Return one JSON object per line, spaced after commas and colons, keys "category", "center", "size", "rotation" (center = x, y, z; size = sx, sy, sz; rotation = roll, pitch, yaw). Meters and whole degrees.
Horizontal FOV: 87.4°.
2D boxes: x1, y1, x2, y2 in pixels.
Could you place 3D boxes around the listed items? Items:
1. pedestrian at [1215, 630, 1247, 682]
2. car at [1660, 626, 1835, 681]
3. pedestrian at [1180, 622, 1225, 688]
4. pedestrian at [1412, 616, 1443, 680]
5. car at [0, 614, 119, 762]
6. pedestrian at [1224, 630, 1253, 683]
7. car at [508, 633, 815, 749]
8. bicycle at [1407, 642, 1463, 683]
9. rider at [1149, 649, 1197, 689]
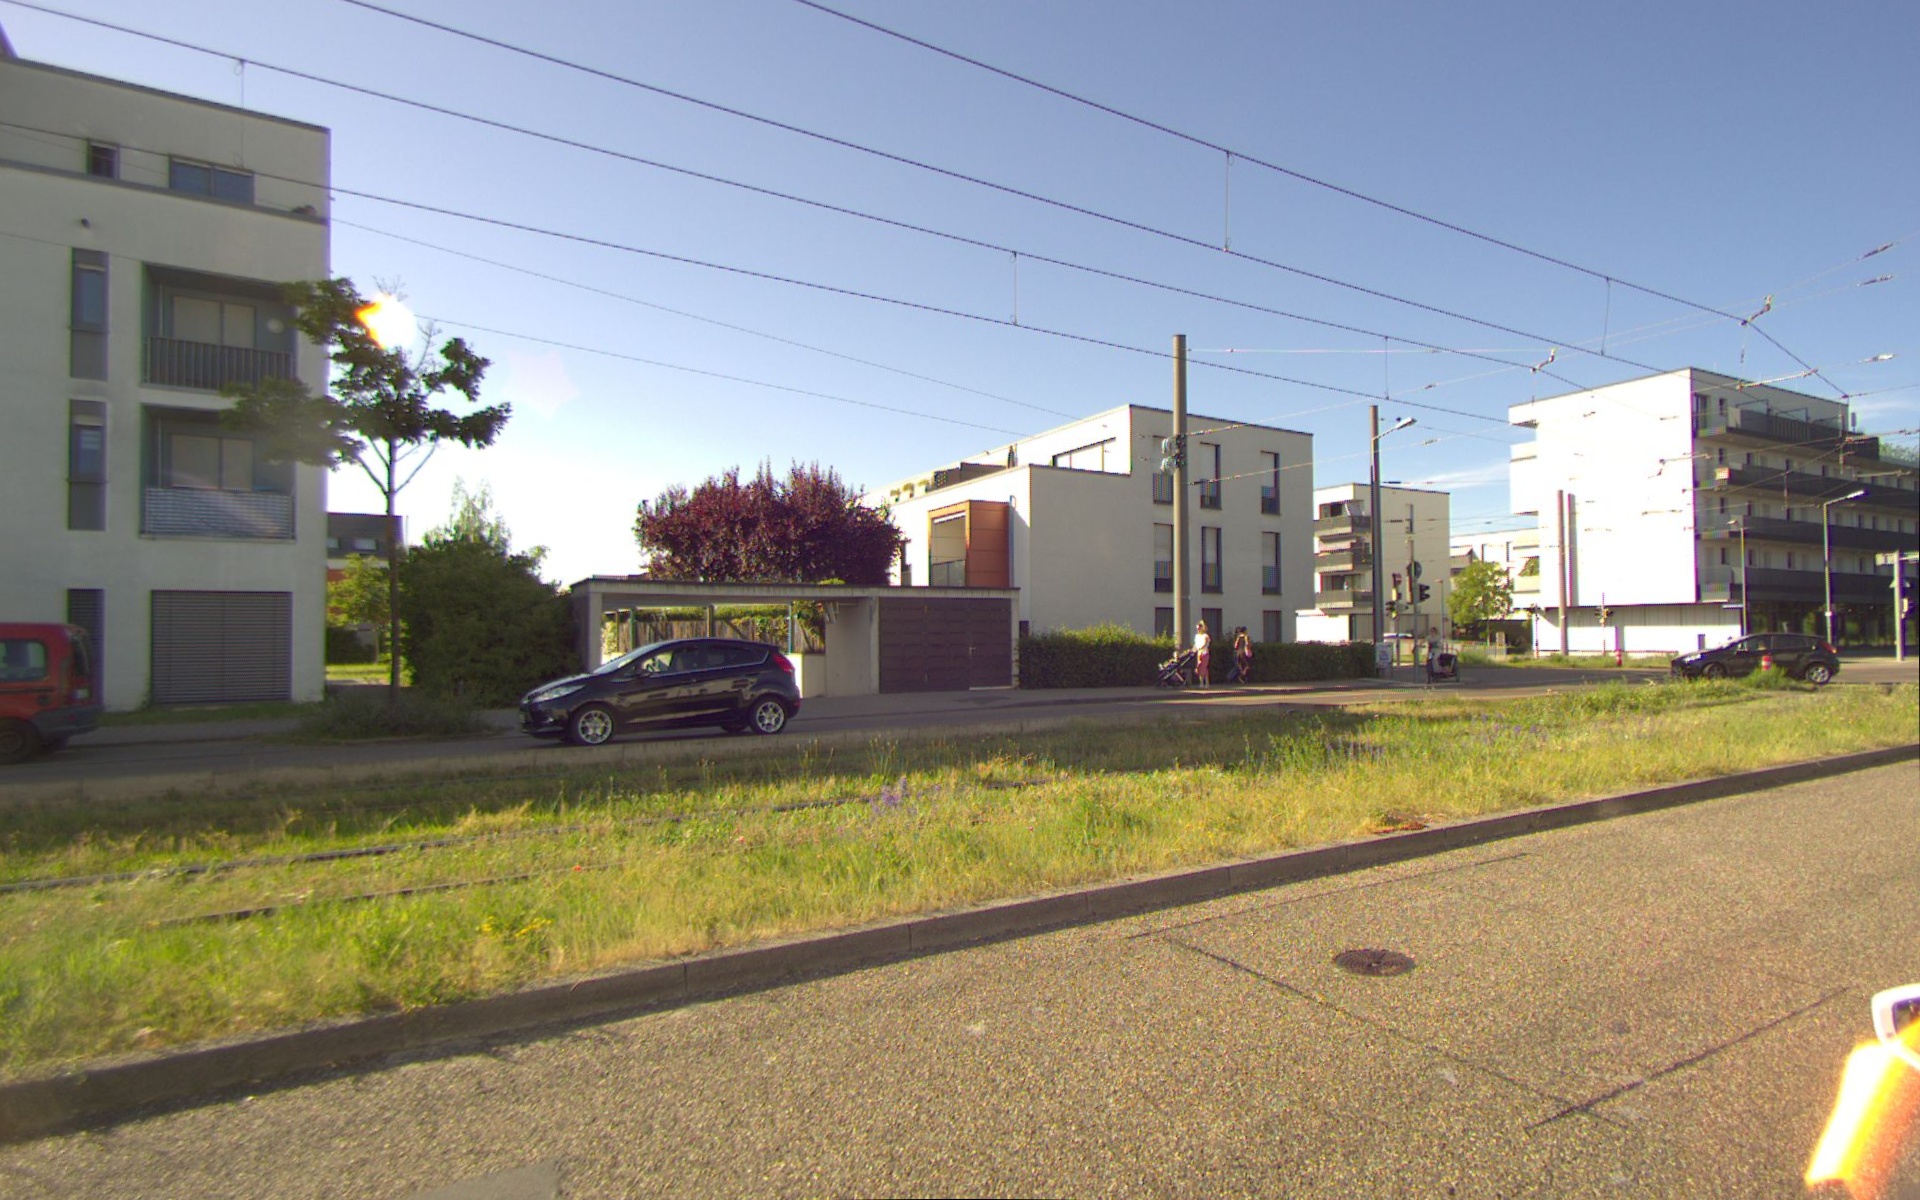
{"category": "pedestrian", "center": [8.004, 1.646, 29.658], "size": [0.733, 1.483, 0.554], "rotation": [0, -1, -29]}
{"category": "car", "center": [23.263, 1.602, 29.830], "size": [3.666, 1.449, 1.709], "rotation": [-3, -3, 19]}
{"category": "pedestrian", "center": [6.636, 1.484, 27.484], "size": [0.897, 1.771, 0.813], "rotation": [0, -1, -26]}
{"category": "pedestrian", "center": [15.149, 1.547, 32.551], "size": [0.665, 2.040, 0.753], "rotation": [1, -1, -44]}
{"category": "car", "center": [-13.257, 1.088, 12.649], "size": [3.793, 1.819, 1.872], "rotation": [1, -1, -31]}
{"category": "pedestrian", "center": [8.055, 1.625, 29.030], "size": [0.604, 1.483, 0.554], "rotation": [0, -1, -29]}
{"category": "car", "center": [-4.269, 1.242, 14.488], "size": [3.953, 1.437, 1.780], "rotation": [1, -4, -31]}
{"category": "bicycle", "center": [15.600, 2.018, 32.978], "size": [2.684, 1.238, 0.786], "rotation": [1, -1, -44]}
{"category": "rider", "center": [5.740, 1.845, 27.054], "size": [1.031, 1.016, 0.775], "rotation": [0, -1, -26]}
